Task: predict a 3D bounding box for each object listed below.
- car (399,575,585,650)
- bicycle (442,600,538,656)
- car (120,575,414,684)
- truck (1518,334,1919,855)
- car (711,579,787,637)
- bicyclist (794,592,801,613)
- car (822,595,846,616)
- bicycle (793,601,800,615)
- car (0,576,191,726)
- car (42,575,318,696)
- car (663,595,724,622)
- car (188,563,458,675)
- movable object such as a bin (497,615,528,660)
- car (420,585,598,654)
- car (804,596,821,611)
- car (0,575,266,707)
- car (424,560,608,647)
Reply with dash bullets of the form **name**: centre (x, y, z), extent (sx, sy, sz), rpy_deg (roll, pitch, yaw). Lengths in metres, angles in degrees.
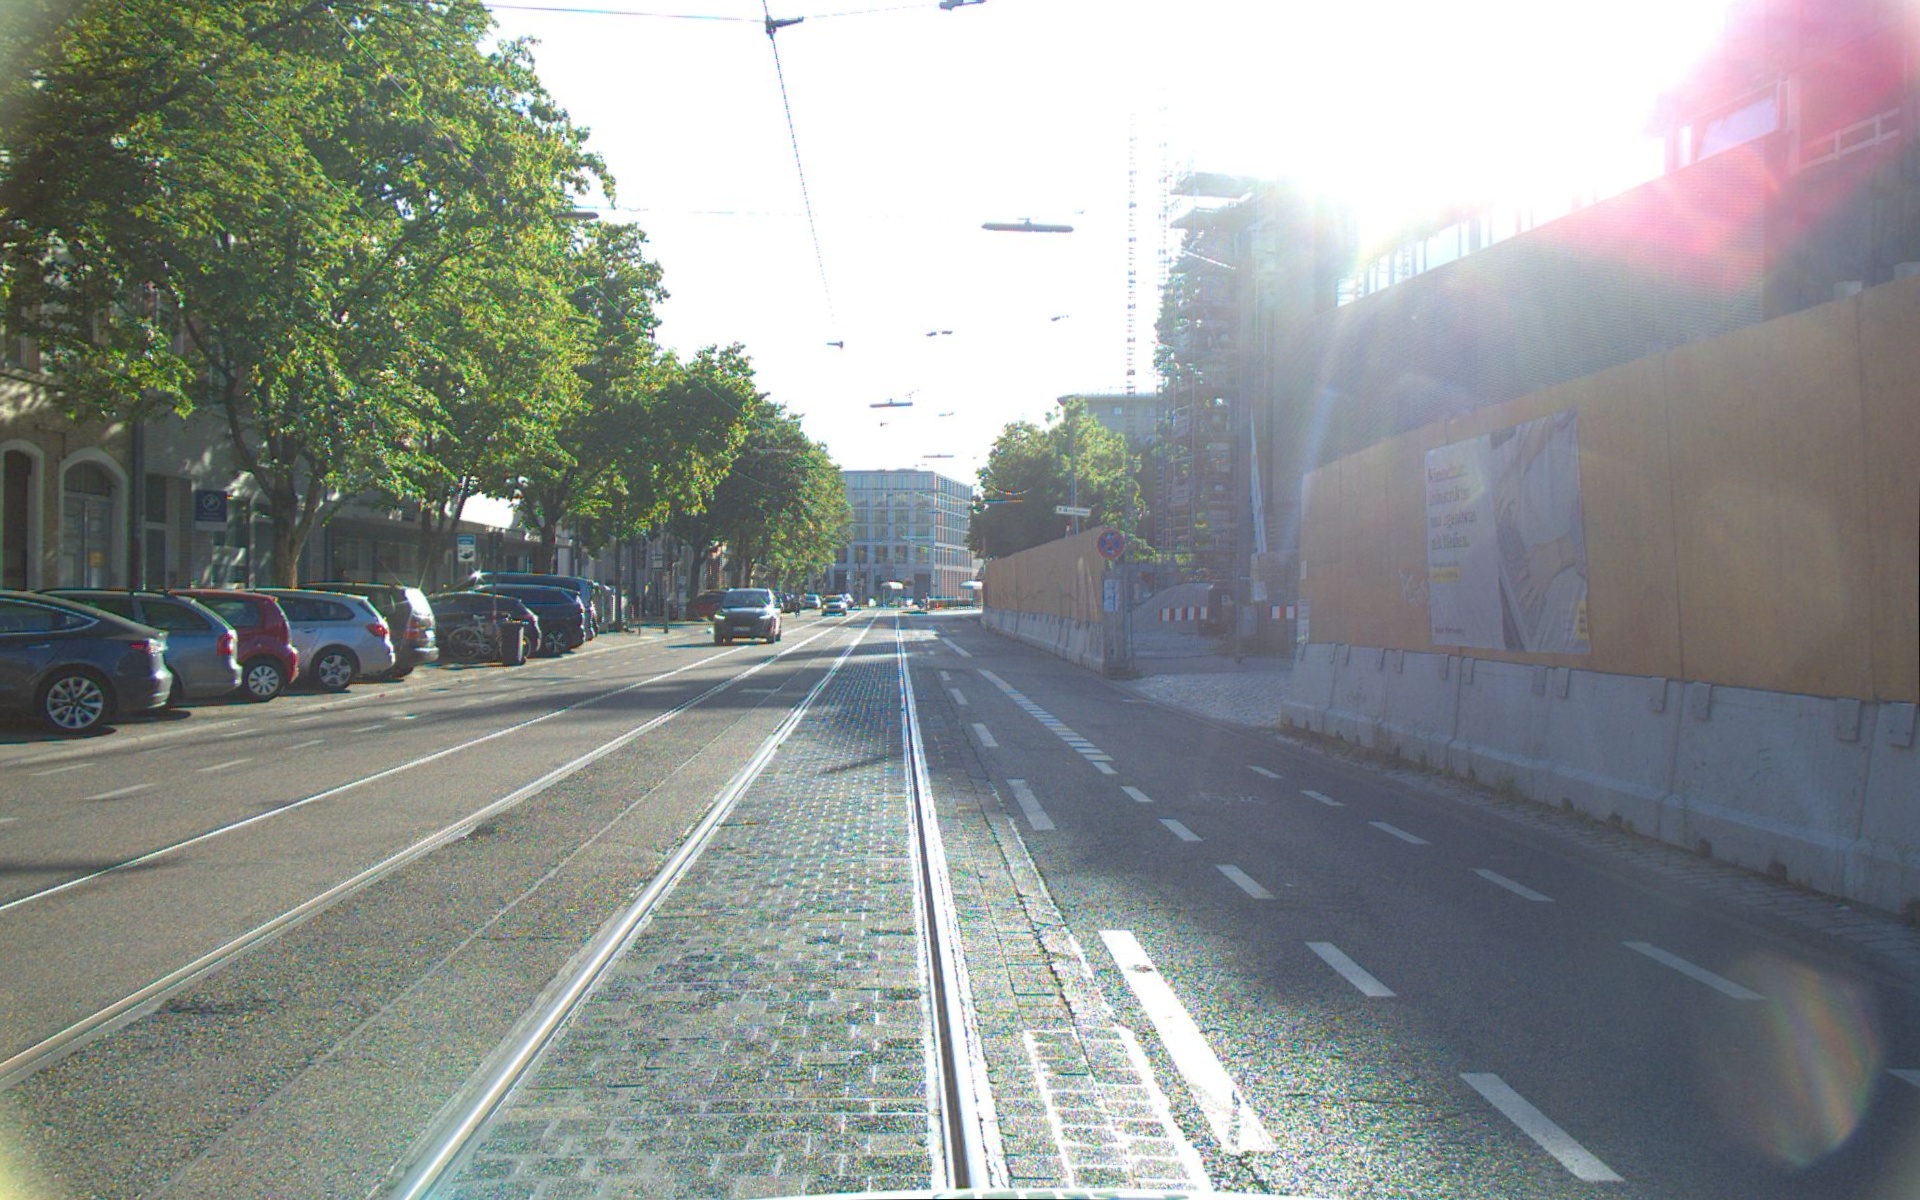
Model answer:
- **car**: centre (-11.416, 0.275, 40.332), extent (4.178, 1.714, 1.798), rpy_deg (-1, 0, -23)
- **bicycle**: centre (-10.252, 0.614, 36.107), extent (1.937, 1.164, 0.490), rpy_deg (2, -1, -21)
- **car**: centre (-10.856, 0.471, 25.958), extent (4.058, 1.539, 1.824), rpy_deg (2, 0, -29)
- **truck**: centre (6.372, -0.085, 12.218), extent (2.468, 2.959, 5.506), rpy_deg (-2, 0, -1)
- **car**: centre (-6.420, 0.213, 50.735), extent (1.889, 1.658, 4.247), rpy_deg (-1, 1, -2)
- **bicyclist**: centre (-10.768, 0.157, 109.495), extent (0.449, 1.402, 0.640), rpy_deg (0, 0, -7)
- **car**: centre (-9.162, 0.368, 119.974), extent (1.676, 1.461, 4.167), rpy_deg (0, 0, -5)
- **bicycle**: centre (-10.815, 0.505, 109.490), extent (0.440, 0.896, 1.898), rpy_deg (0, 0, -7)
- **car**: centre (-10.564, 0.502, 17.617), extent (4.143, 1.517, 1.925), rpy_deg (2, 0, -30)
- **car**: centre (-10.860, 0.503, 23.056), extent (3.328, 1.519, 1.597), rpy_deg (3, 0, -31)
- **car**: centre (-13.753, 0.448, 85.323), extent (2.903, 1.355, 1.203), rpy_deg (0, 0, -30)
- **car**: centre (-11.231, 0.329, 29.406), extent (4.024, 1.707, 1.839), rpy_deg (3, 0, -5)
- **movable object such as a bin**: centre (-9.625, 0.806, 35.574), extent (0.566, 0.929, 0.572), rpy_deg (3, 1, -18)
- **car**: centre (-10.309, 0.421, 37.750), extent (3.799, 1.502, 1.833), rpy_deg (0, 0, -21)
- **car**: centre (-15.517, 0.352, 173.898), extent (1.541, 1.516, 3.998), rpy_deg (0, 0, -2)
- **car**: centre (-10.587, 0.496, 20.226), extent (3.635, 1.496, 1.735), rpy_deg (3, -1, -31)
- **car**: centre (-11.508, 0.102, 42.873), extent (4.297, 2.021, 1.935), rpy_deg (3, -1, -24)
